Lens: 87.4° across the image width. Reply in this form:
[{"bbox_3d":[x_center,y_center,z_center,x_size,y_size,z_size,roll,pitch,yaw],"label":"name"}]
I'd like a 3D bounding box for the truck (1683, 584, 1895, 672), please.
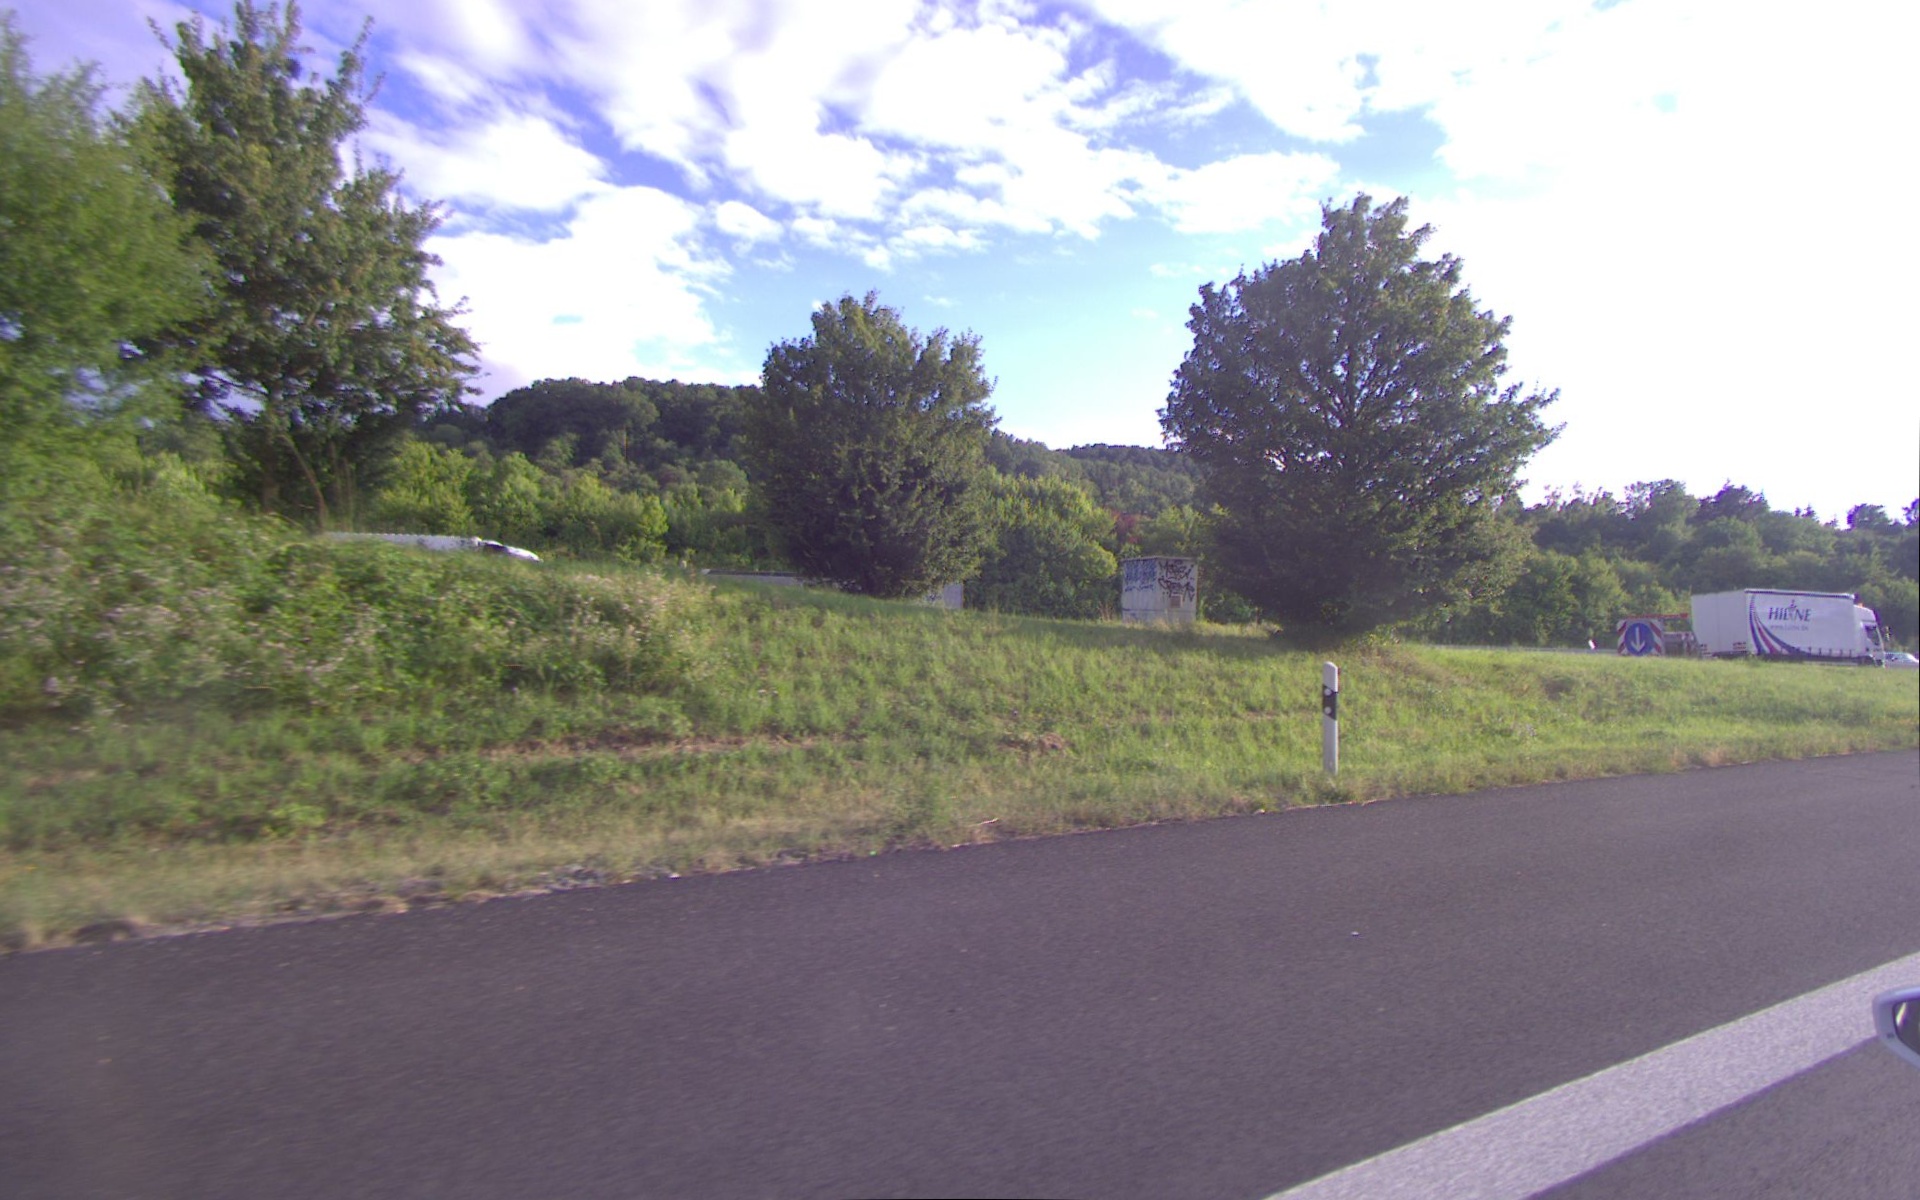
[{"bbox_3d":[39.235,1.374,47.565,9.507,3.839,2.920,2,-1,-16],"label":"truck"}]

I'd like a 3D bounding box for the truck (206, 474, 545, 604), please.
[{"bbox_3d":[-20.586,-2.016,36.135,9.982,3.999,2.770,2,-1,-14],"label":"truck"}]

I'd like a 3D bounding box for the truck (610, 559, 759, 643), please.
[{"bbox_3d":[-13.840,0.098,50.942,6.966,3.939,2.946,2,-1,-14],"label":"truck"}]

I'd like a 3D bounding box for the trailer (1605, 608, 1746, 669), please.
[{"bbox_3d":[32.399,1.747,45.561,4.737,2.612,2.921,2,-2,-16],"label":"trailer"}]

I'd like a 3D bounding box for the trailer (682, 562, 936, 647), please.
[{"bbox_3d":[-7.806,0.306,52.440,12.753,3.939,2.945,2,-1,-14],"label":"trailer"}]
